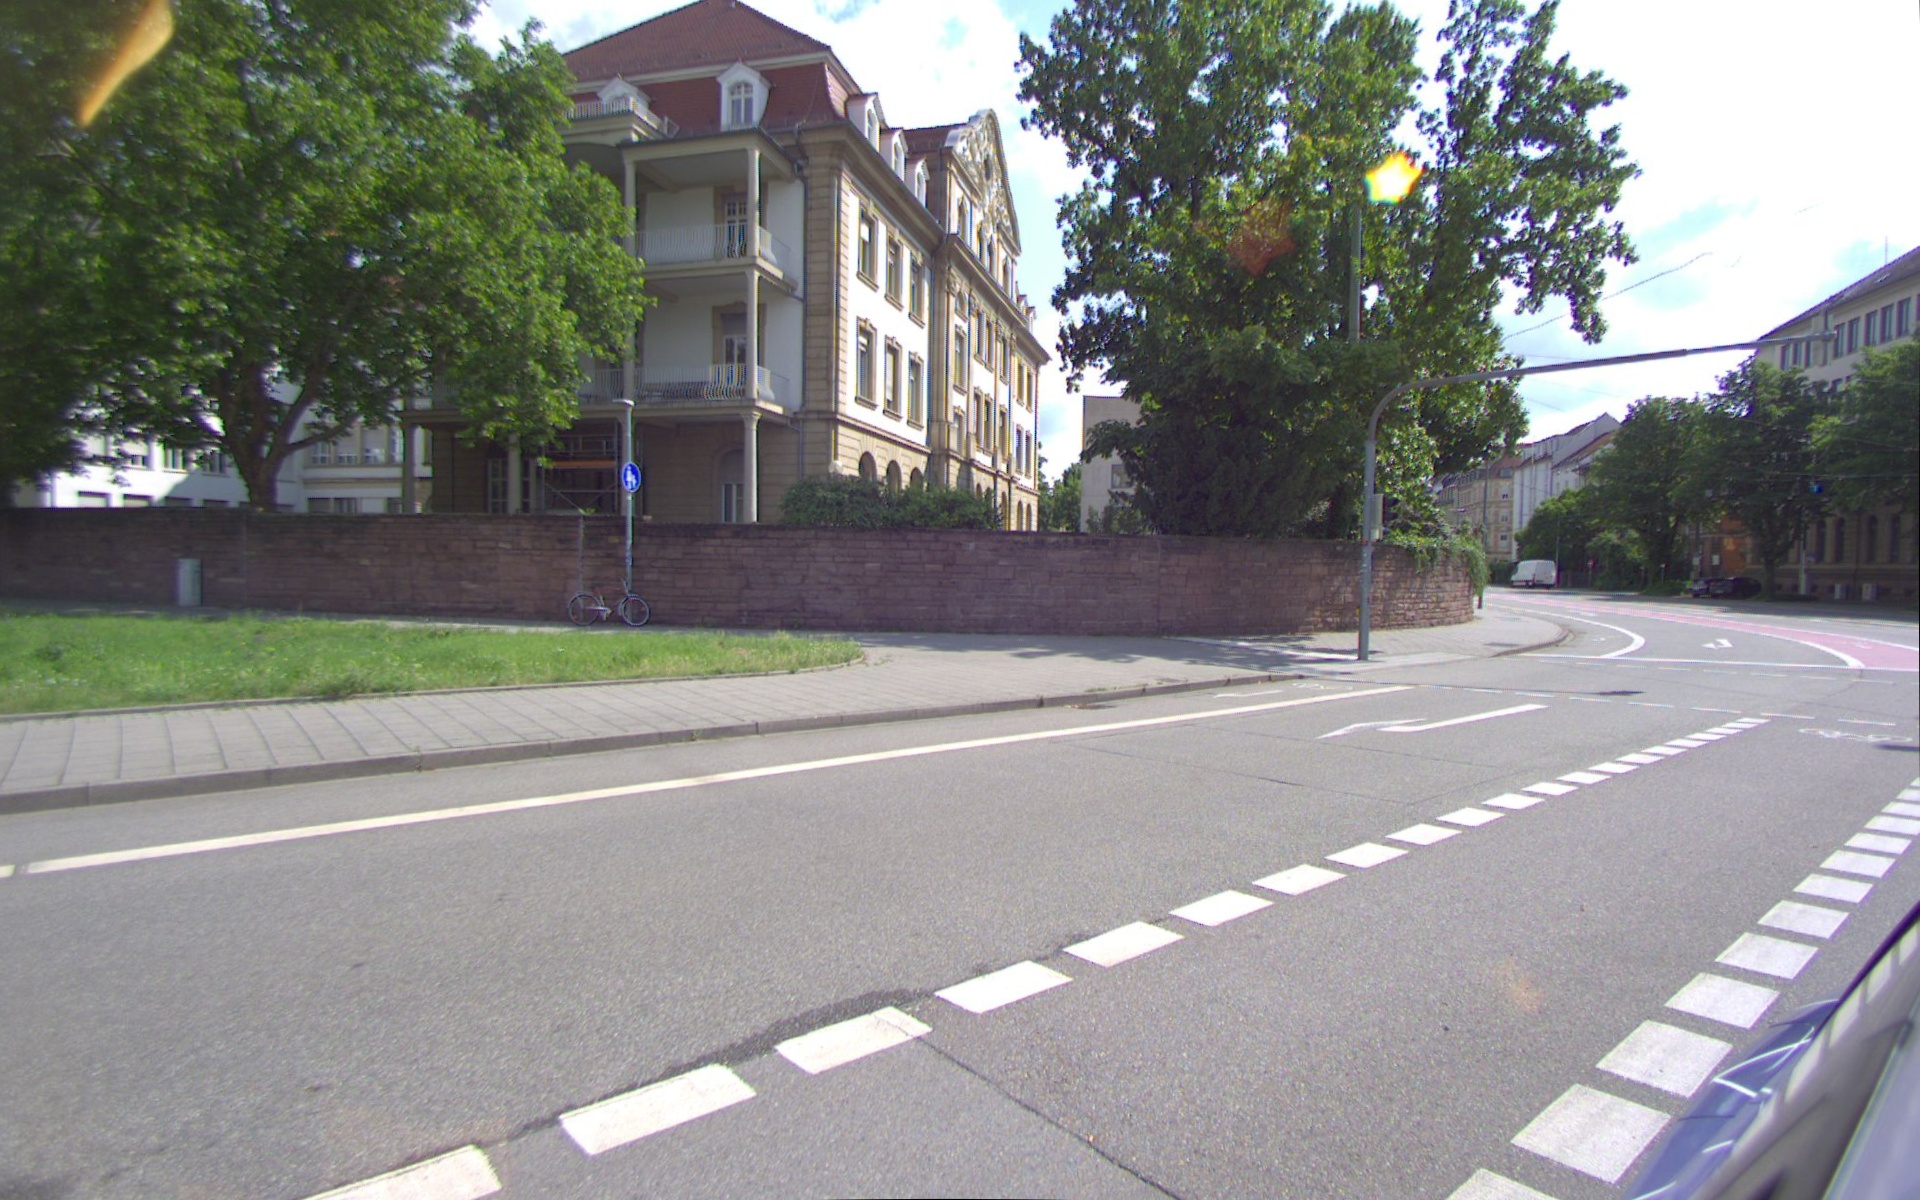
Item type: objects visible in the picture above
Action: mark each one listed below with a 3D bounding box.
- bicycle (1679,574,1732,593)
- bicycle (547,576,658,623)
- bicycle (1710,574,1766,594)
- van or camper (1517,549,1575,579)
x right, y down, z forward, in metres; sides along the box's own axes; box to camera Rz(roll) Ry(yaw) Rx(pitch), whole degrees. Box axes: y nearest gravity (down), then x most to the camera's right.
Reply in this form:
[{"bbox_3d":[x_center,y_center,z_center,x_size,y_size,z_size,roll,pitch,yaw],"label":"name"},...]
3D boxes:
[{"bbox_3d":[53.757,-1.208,72.979,1.052,1.221,2.898,-4,5,-32],"label":"bicycle"},{"bbox_3d":[-7.440,-0.017,21.105,2.024,0.871,0.858,1,4,4],"label":"bicycle"},{"bbox_3d":[53.567,-1.147,69.739,1.030,1.221,2.898,-4,5,-32],"label":"bicycle"},{"bbox_3d":[54.829,-3.416,94.906,2.934,2.634,6.728,2,3,15],"label":"van or camper"}]
